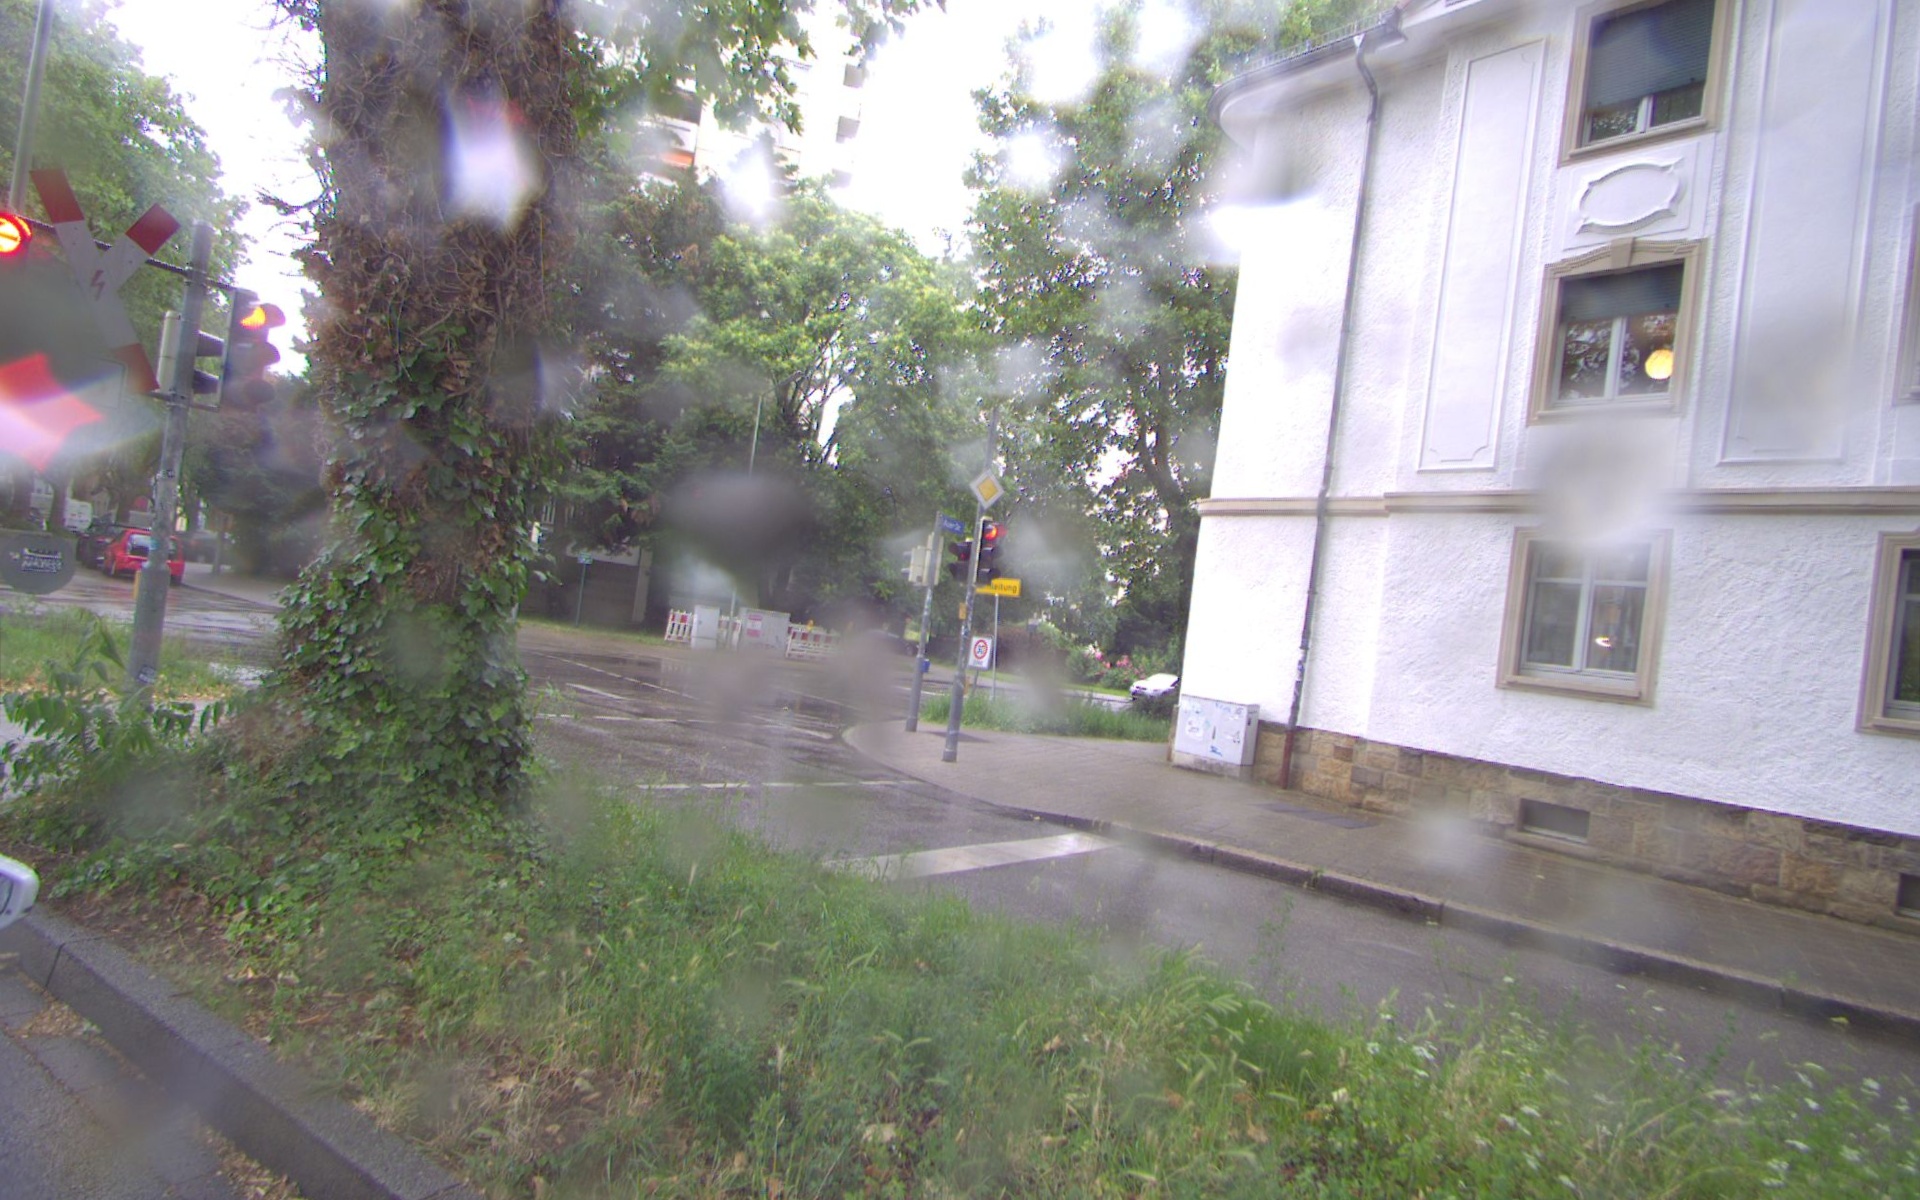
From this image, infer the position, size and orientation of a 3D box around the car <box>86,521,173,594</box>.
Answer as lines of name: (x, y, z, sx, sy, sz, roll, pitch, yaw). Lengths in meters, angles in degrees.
car: (-27.984, -1.446, 33.862, 1.986, 2.038, 3.953, 7, 0, -42)

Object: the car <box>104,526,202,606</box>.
car: (-24.764, -1.072, 30.814, 1.986, 2.038, 3.953, 7, 0, -42)

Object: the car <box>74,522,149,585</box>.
car: (-32.922, -1.839, 38.984, 1.986, 2.038, 3.953, 7, 0, -42)

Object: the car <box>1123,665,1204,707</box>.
car: (9.277, 3.910, 45.671, 3.630, 1.504, 1.704, 8, 0, -43)

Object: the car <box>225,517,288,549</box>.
car: (-57.159, -5.454, 81.807, 3.969, 2.038, 1.689, 7, 0, -39)
